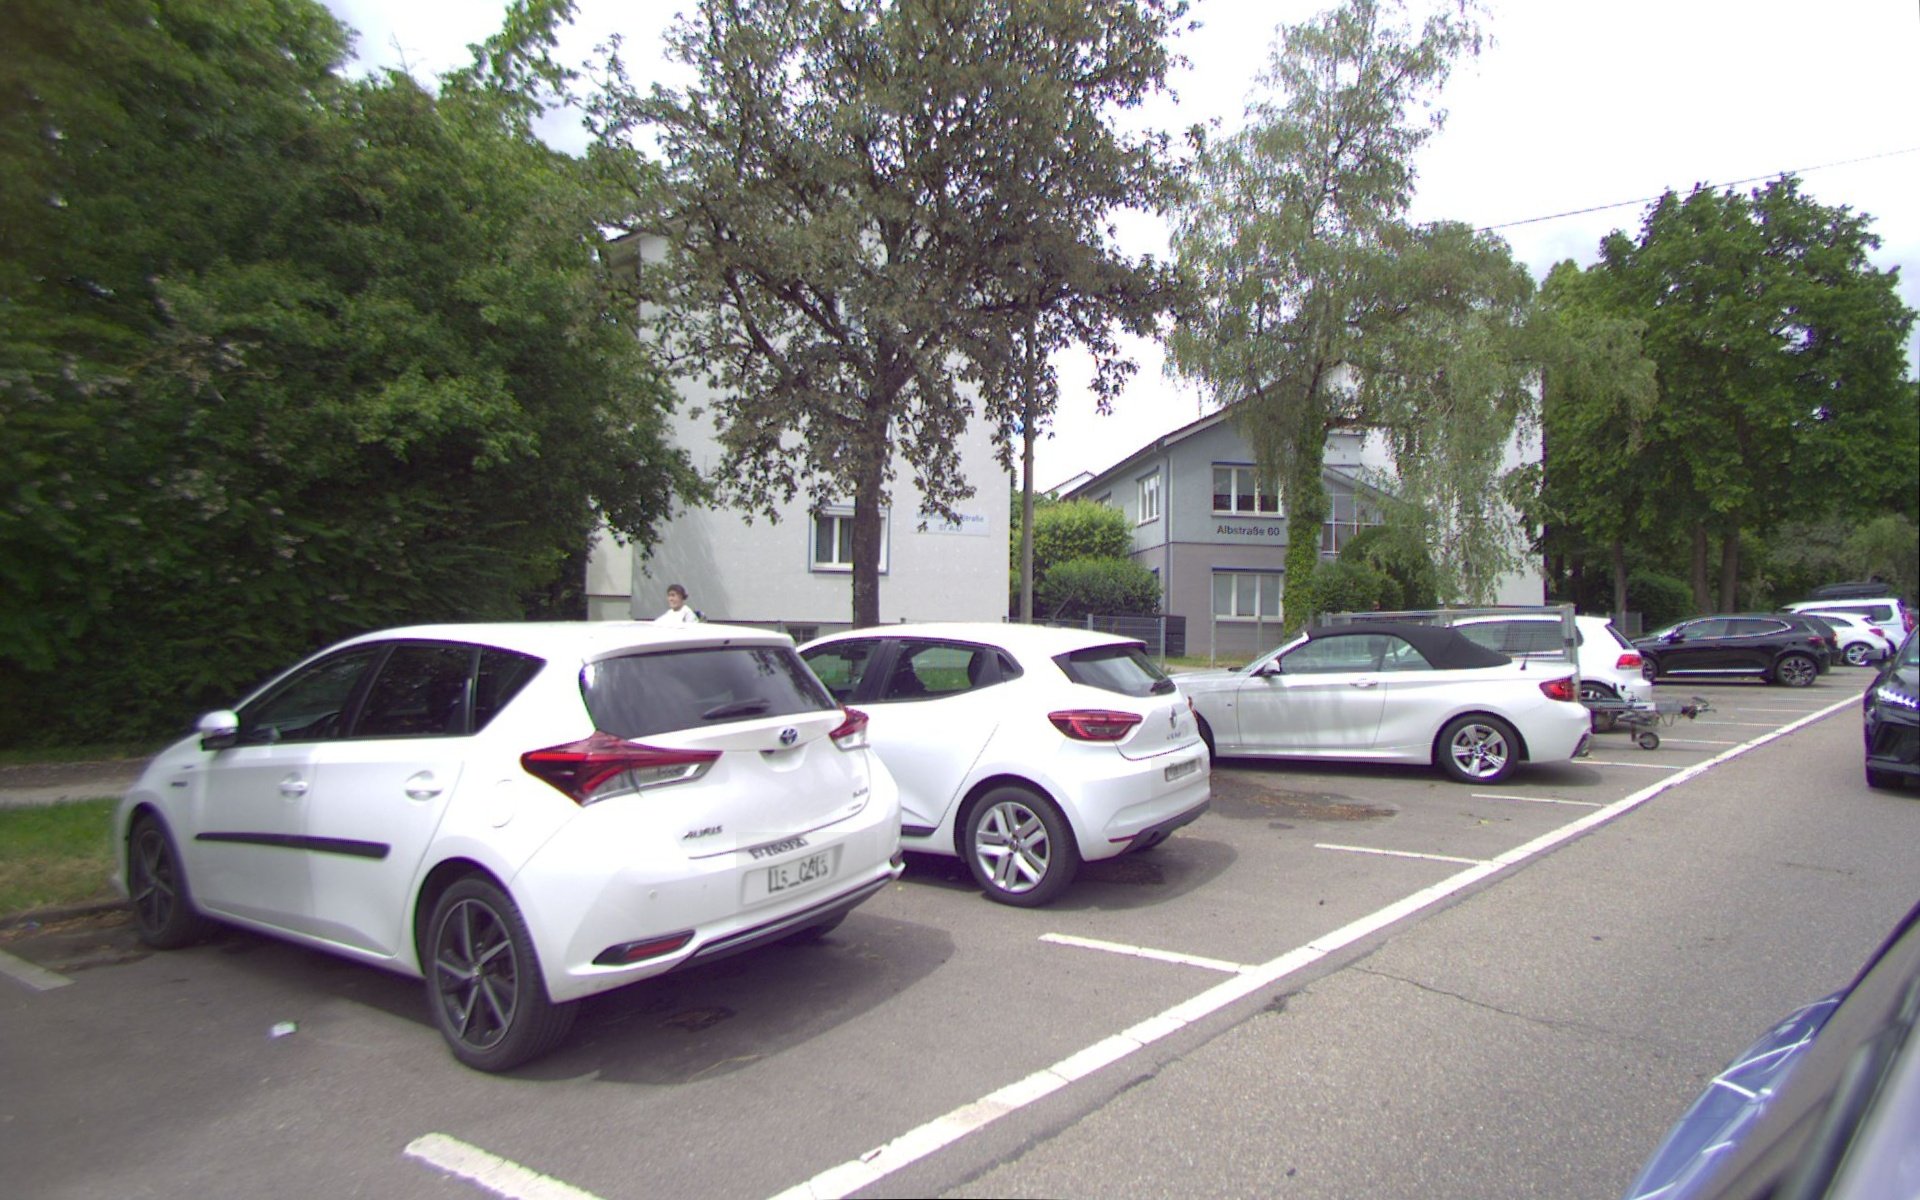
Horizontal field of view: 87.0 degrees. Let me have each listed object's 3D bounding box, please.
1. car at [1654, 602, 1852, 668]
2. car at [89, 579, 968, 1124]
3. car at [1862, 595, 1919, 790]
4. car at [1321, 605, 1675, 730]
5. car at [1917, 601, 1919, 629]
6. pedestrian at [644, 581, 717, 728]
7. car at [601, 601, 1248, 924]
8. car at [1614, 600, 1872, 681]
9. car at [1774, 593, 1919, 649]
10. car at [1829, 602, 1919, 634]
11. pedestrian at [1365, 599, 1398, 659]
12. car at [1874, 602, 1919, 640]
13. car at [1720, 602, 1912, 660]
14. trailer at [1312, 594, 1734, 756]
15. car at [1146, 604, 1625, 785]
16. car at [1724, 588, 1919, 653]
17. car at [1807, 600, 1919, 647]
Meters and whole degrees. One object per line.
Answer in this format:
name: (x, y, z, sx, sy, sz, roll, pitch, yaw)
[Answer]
car: (19.010, 0.843, 24.450, 3.483, 1.483, 1.698, -2, -1, 30)
car: (-2.129, 0.732, 4.646, 3.970, 1.483, 1.844, -2, -1, 33)
car: (9.328, 0.728, 8.763, 3.727, 1.511, 1.811, -1, 0, -41)
car: (7.138, 0.852, 13.762, 3.962, 1.483, 1.774, -2, -1, 28)
car: (57.922, 0.826, 58.384, 3.842, 1.582, 1.630, -2, -1, 43)
pedestrian: (-3.312, 0.618, 11.965, 0.762, 1.665, 0.695, 0, -1, -21)
car: (-0.384, 0.801, 6.594, 3.975, 1.483, 1.773, -2, -1, 36)
car: (15.714, 0.808, 20.573, 3.816, 1.452, 1.701, -2, 1, 26)
car: (27.926, 0.650, 31.515, 3.833, 1.664, 1.829, -2, -1, 36)
car: (48.072, 0.922, 52.785, 3.825, 1.578, 1.637, -2, -1, 31)
pedestrian: (10.892, 0.736, 26.140, 0.688, 1.523, 0.770, -1, -1, 30)
car: (42.997, 0.883, 44.504, 3.825, 1.633, 1.637, -2, -1, 31)
car: (23.203, 0.835, 27.635, 3.833, 1.457, 1.693, -2, -1, 36)
trailer: (6.277, 0.743, 11.625, 3.969, 1.572, 1.640, 0, -1, 32)
car: (4.008, 0.831, 9.990, 3.956, 1.483, 1.835, -2, -1, 24)
car: (25.329, 0.612, 29.767, 4.178, 1.781, 1.842, -2, -1, 26)
car: (30.178, 0.765, 32.935, 3.833, 1.453, 1.634, -2, -1, 36)
